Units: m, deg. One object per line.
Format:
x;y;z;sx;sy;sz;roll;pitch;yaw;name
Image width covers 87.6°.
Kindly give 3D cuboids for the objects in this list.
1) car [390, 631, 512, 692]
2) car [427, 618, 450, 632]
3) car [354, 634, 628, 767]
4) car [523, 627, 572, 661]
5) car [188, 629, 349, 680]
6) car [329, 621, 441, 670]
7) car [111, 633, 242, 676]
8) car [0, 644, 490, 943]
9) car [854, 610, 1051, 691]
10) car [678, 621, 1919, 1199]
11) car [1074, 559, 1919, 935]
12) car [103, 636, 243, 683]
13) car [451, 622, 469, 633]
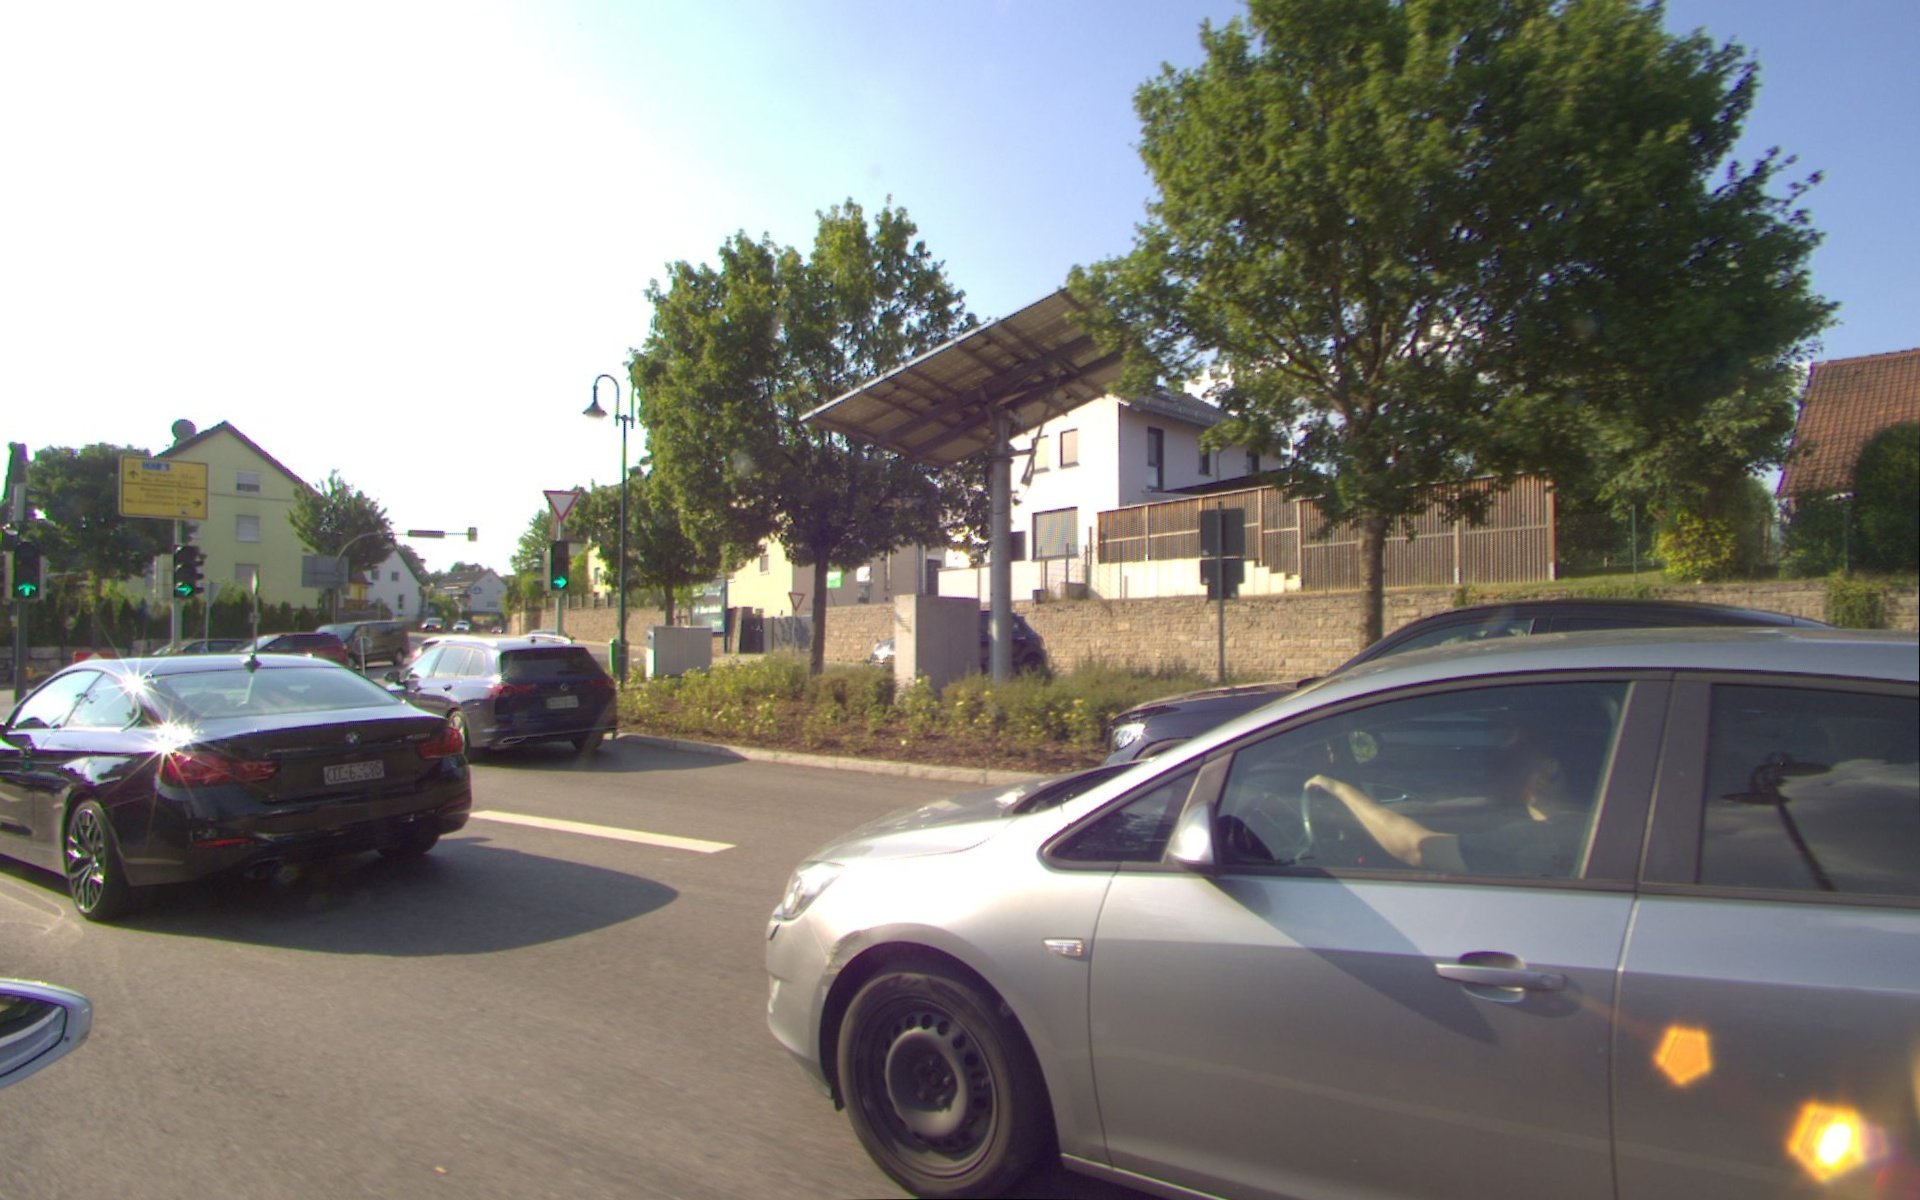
-13.685;1.613;27.171;1.833;1.512;3.999;0;-2;-10;car
-53.649;2.552;103.105;1.788;1.361;3.988;0;-2;-23;car
-6.142;1.165;12.886;4.229;1.428;1.622;-2;-2;41;car
-17.198;1.809;41.668;1.788;1.361;3.988;0;-2;-23;car
-23.837;1.842;34.674;1.833;1.646;4.239;-1;-2;27;car
-24.759;1.943;43.352;1.961;1.956;5.181;0;-2;-1;car
-29.869;2.065;38.292;1.602;1.468;3.594;-2;-1;28;car
-5.141;1.004;6.617;4.201;1.386;1.697;-1;-1;32;car
-0.065;0.996;20.416;1.662;1.475;4.042;-2;-3;45;car
1.335;0.797;2.611;4.083;1.441;1.645;-1;-1;31;car
3.053;0.684;5.775;4.424;1.586;1.840;-1;-2;27;car
-27.404;2.047;34.962;3.756;1.561;1.586;2;-3;-39;car
-62.464;3.410;125.232;1.788;1.361;3.988;0;-2;-23;car
